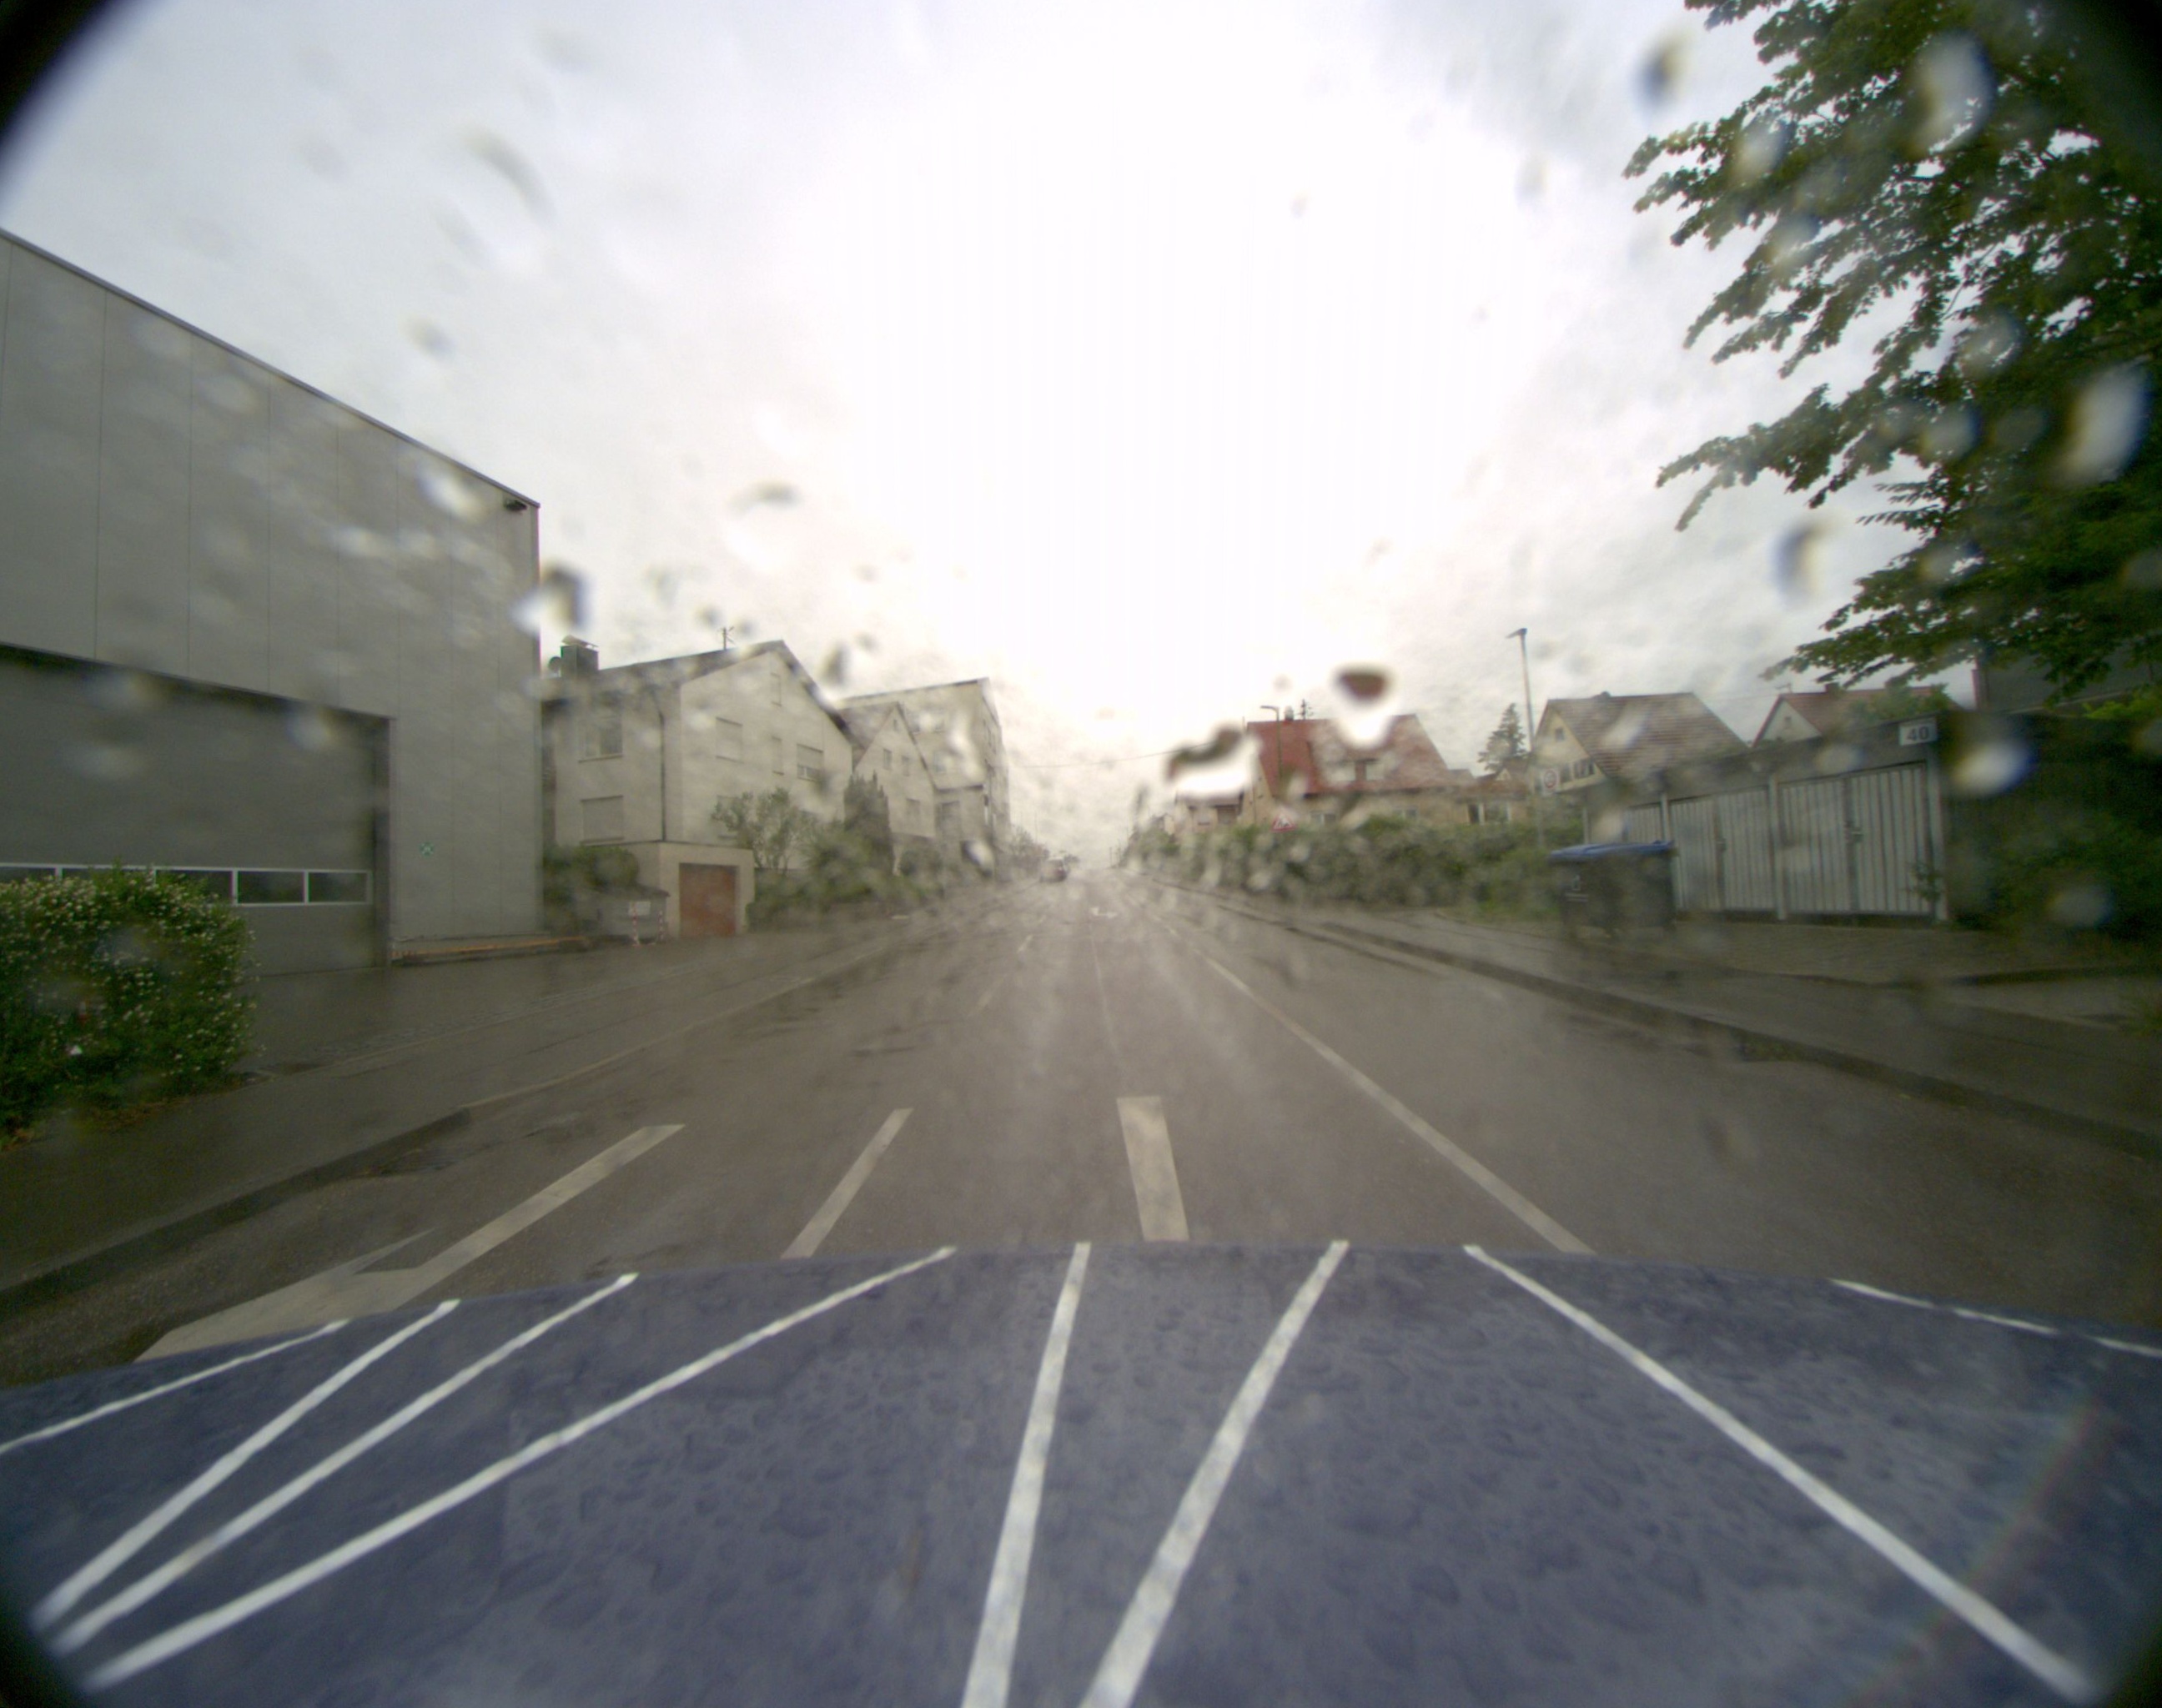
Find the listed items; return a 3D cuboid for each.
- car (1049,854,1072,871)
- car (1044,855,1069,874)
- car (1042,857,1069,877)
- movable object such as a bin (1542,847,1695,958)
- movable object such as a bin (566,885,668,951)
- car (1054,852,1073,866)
[{"bbox_3d":[-1.944,0.801,73.264,1.848,1.514,4.001,-2,0,2],"label":"car"},{"bbox_3d":[-2.105,0.917,66.931,1.848,1.514,4.001,-2,0,2],"label":"car"},{"bbox_3d":[-2.031,1.023,61.063,1.848,1.514,4.001,-2,0,2],"label":"car"},{"bbox_3d":[7.150,0.626,10.194,1.056,1.289,1.202,-7,-1,1],"label":"movable object such as a bin"},{"bbox_3d":[-11.556,1.584,18.976,1.446,1.526,1.591,-2,-1,16],"label":"movable object such as a bin"},{"bbox_3d":[-1.961,0.572,85.756,1.848,1.514,4.001,-2,0,2],"label":"car"}]
